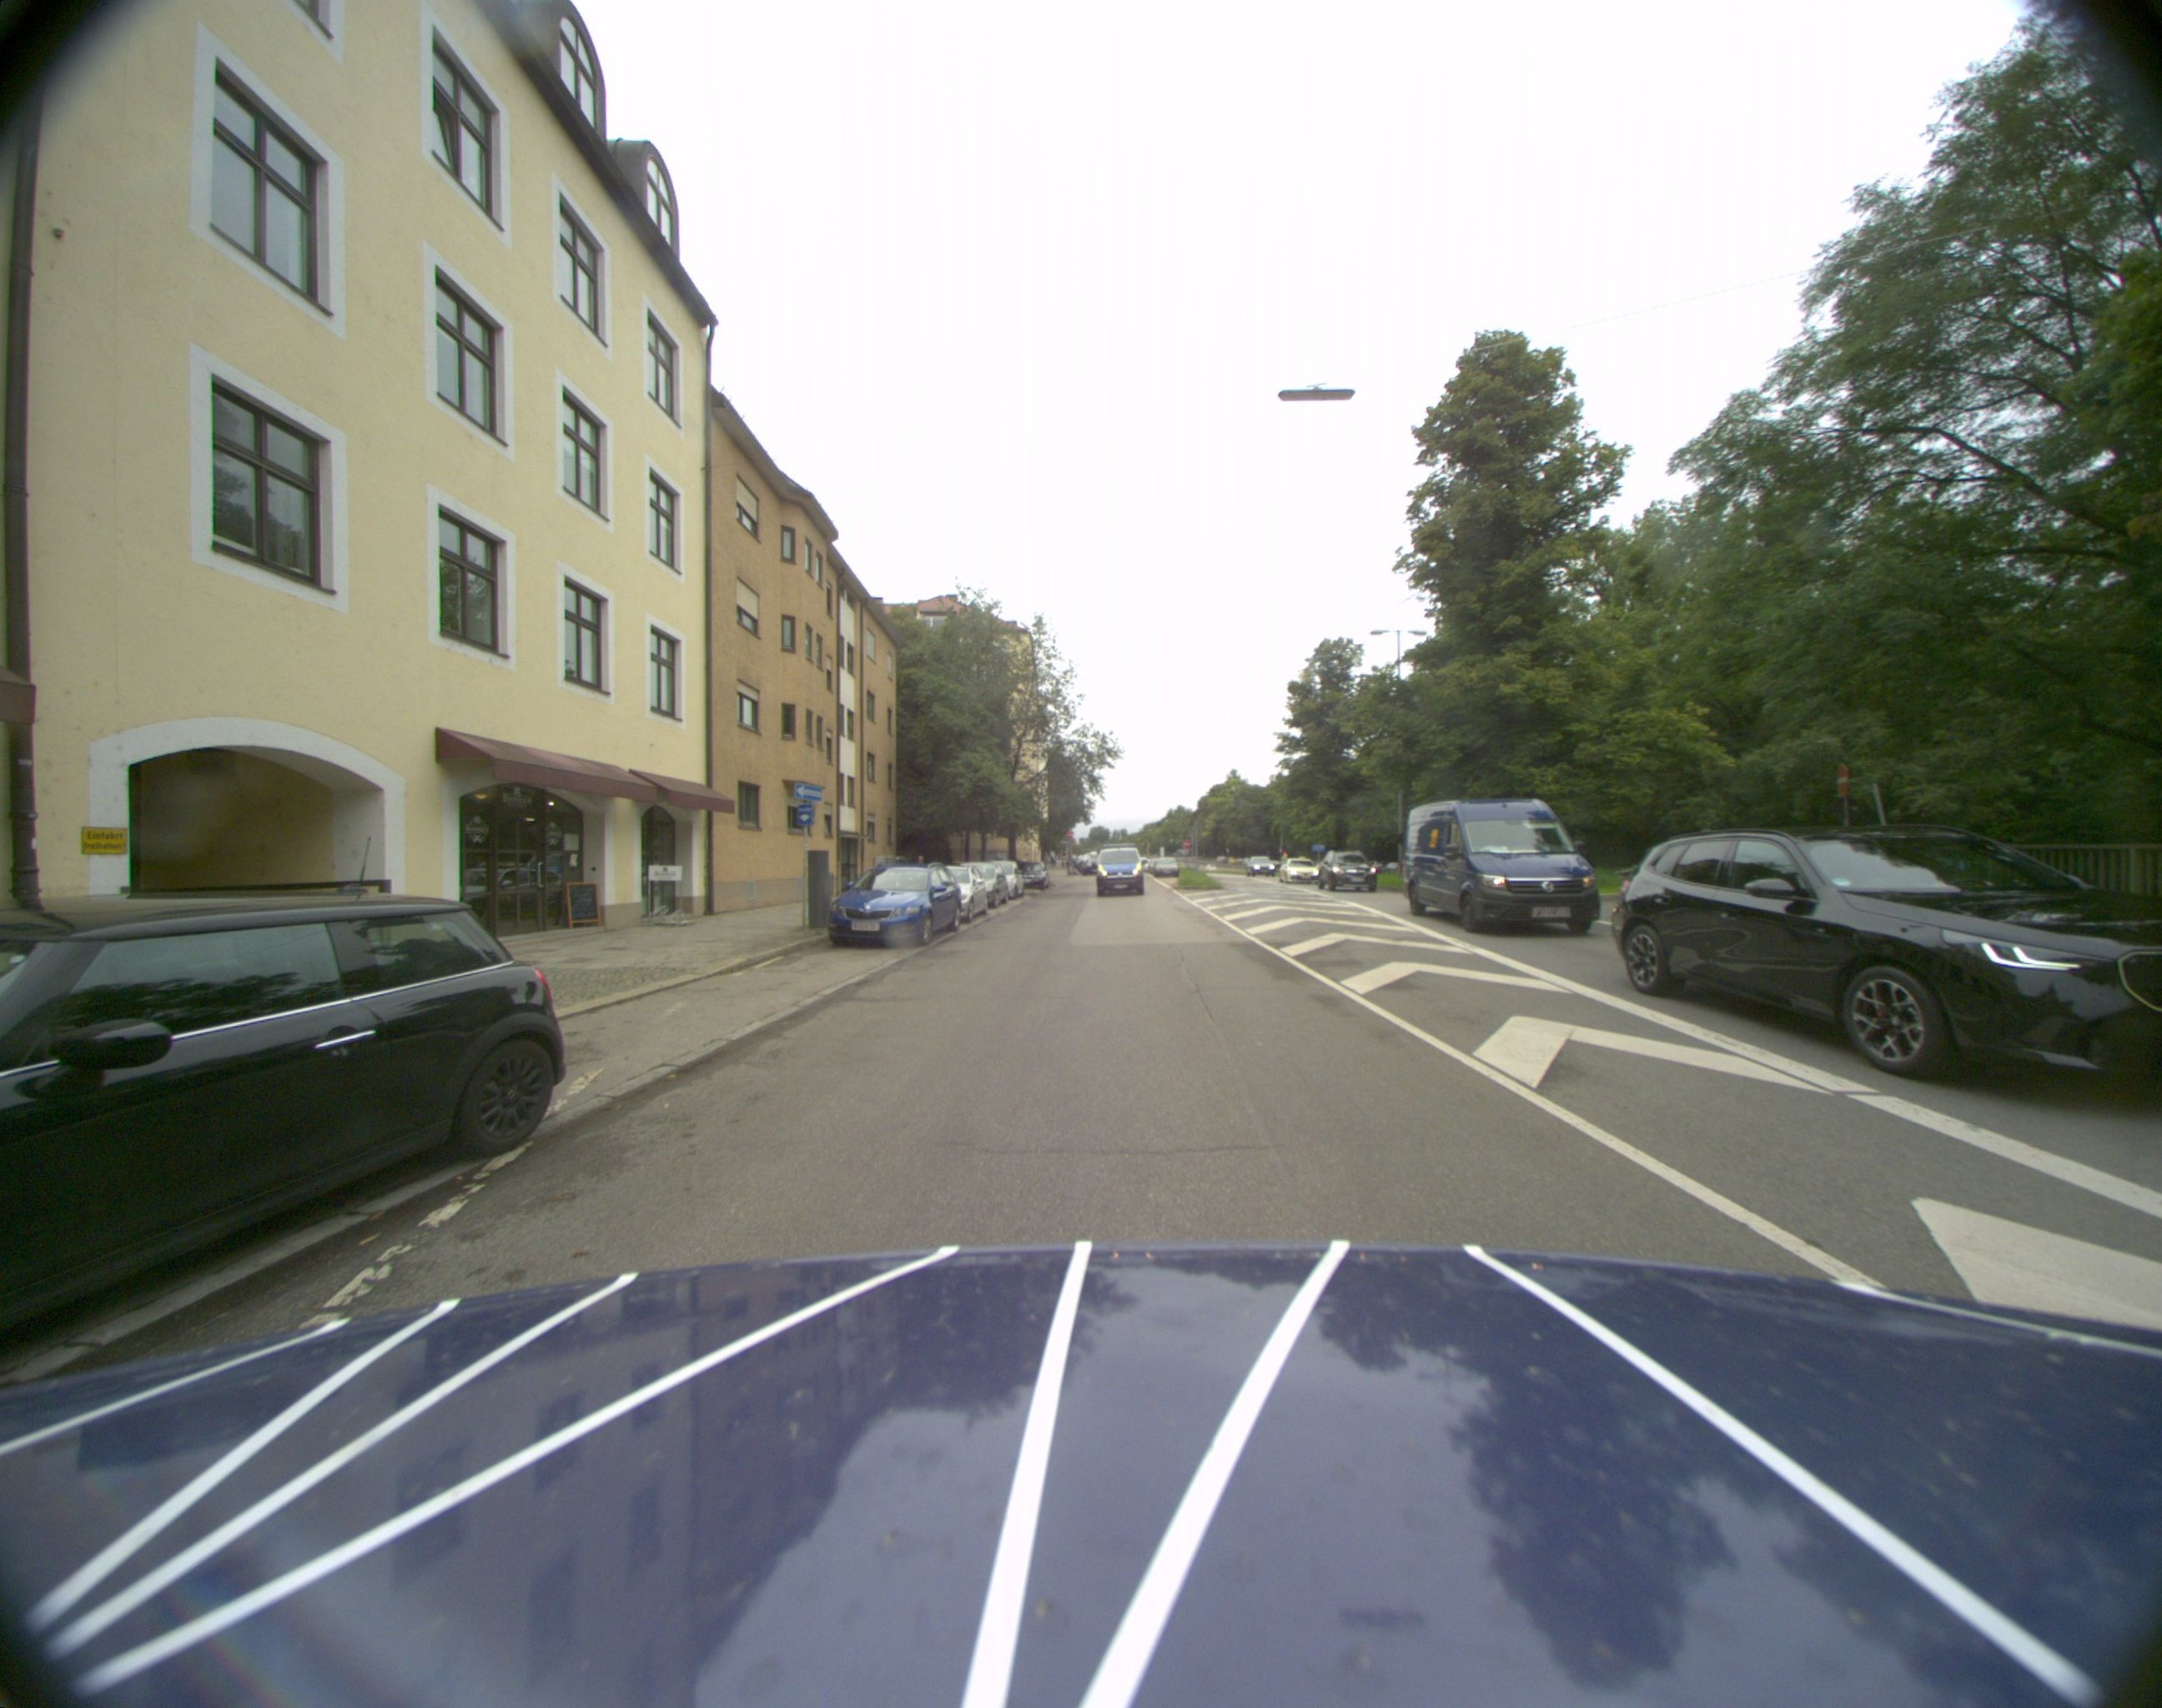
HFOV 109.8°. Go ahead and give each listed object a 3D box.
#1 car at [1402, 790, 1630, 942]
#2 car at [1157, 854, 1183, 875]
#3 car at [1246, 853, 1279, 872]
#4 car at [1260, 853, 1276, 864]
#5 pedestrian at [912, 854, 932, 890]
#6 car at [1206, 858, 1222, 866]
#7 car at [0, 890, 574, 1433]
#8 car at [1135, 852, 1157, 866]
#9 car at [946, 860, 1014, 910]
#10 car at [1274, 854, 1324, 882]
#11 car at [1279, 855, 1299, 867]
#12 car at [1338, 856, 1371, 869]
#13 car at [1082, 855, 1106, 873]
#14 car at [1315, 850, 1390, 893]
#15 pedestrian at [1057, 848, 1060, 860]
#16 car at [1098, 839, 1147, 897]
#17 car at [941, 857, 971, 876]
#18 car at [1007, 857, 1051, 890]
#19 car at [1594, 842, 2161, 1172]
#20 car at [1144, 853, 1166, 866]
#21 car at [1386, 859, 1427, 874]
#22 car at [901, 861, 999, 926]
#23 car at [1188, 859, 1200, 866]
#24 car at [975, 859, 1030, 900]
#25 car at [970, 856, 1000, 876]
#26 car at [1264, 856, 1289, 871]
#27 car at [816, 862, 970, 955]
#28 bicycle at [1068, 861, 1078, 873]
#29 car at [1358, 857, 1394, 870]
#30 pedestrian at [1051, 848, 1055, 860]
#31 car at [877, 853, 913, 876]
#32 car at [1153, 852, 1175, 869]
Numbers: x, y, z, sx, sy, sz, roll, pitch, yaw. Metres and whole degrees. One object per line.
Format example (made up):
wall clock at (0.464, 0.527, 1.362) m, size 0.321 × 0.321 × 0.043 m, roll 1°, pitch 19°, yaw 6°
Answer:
car at (8.267, 0.156, 15.248) m, size 2.187 × 2.450 × 5.855 m, roll 0°, pitch 1°, yaw 11°
car at (6.817, 0.753, 58.497) m, size 1.902 × 1.556 × 4.773 m, roll 0°, pitch 0°, yaw 6°
car at (14.828, 0.670, 62.260) m, size 1.991 × 1.556 × 4.274 m, roll 0°, pitch 0°, yaw 4°
car at (31.877, 0.736, 129.654) m, size 1.885 × 1.736 × 4.000 m, roll -1°, pitch 0°, yaw 0°
pedestrian at (-7.289, 0.804, 34.829) m, size 0.672 × 1.614 × 0.980 m, roll -1°, pitch 1°, yaw 3°
car at (22.791, 1.332, 129.941) m, size 1.832 × 1.438 × 4.235 m, roll 1°, pitch 0°, yaw -2°
car at (-4.061, 0.973, 2.688) m, size 1.760 × 1.487 × 3.824 m, roll 1°, pitch 0°, yaw 5°
car at (8.109, 0.575, 94.729) m, size 2.075 × 1.692 × 5.089 m, roll -1°, pitch 0°, yaw -2°
car at (-3.283, 0.979, 25.365) m, size 1.632 × 1.487 × 3.787 m, roll 1°, pitch 0°, yaw 2°
car at (12.492, 0.760, 43.814) m, size 1.991 × 1.556 × 4.656 m, roll 0°, pitch 0°, yaw 6°
car at (32.523, 1.095, 119.073) m, size 1.998 × 1.736 × 4.000 m, roll -1°, pitch 0°, yaw 0°
car at (32.733, 1.014, 91.084) m, size 1.999 × 1.526 × 4.705 m, roll 1°, pitch 0°, yaw -3°
car at (1.204, 0.894, 71.098) m, size 2.129 × 1.556 × 4.508 m, roll -1°, pitch 0°, yaw 2°
car at (11.010, 0.665, 31.111) m, size 1.991 × 1.618 × 4.275 m, roll 0°, pitch 0°, yaw 7°
pedestrian at (-3.845, 0.024, 129.118) m, size 0.458 × 2.002 × 0.617 m, roll 0°, pitch 0°, yaw -17°
car at (1.641, 0.513, 31.382) m, size 1.856 × 2.198 × 4.553 m, roll -1°, pitch 1°, yaw 1°
car at (-10.043, 0.972, 61.380) m, size 1.917 × 1.458 × 4.244 m, roll 0°, pitch 0°, yaw -2°
car at (-2.600, 0.949, 39.181) m, size 1.796 × 1.488 × 4.376 m, roll 2°, pitch 0°, yaw 1°
car at (6.310, 0.742, 5.989) m, size 1.916 × 1.577 × 4.834 m, roll -2°, pitch 0°, yaw 10°
car at (8.272, 0.633, 85.309) m, size 1.992 × 1.447 × 4.281 m, roll 0°, pitch 0°, yaw -2°
car at (33.188, 1.284, 77.608) m, size 1.999 × 1.438 × 4.524 m, roll 1°, pitch 0°, yaw -3°
car at (-3.356, 0.958, 20.225) m, size 1.694 × 1.487 × 4.434 m, roll 1°, pitch 0°, yaw 2°
car at (22.313, 1.627, 150.262) m, size 1.896 × 1.438 × 4.033 m, roll 0°, pitch 0°, yaw 0°
car at (-3.030, 0.952, 30.160) m, size 1.632 × 1.487 × 3.821 m, roll 1°, pitch 0°, yaw 2°
car at (-7.713, 0.945, 61.575) m, size 2.054 × 1.458 × 4.244 m, roll 0°, pitch 0°, yaw -2°
car at (22.386, 1.069, 87.103) m, size 1.865 × 1.549 × 4.000 m, roll -1°, pitch 0°, yaw 1°
car at (-3.499, 0.946, 15.043) m, size 1.761 × 1.487 × 4.488 m, roll 1°, pitch 0°, yaw 2°
bicycle at (-0.732, 1.151, 68.899) m, size 0.632 × 1.031 × 1.736 m, roll 0°, pitch 0°, yaw 7°
car at (32.810, 1.060, 84.574) m, size 1.999 × 1.438 × 4.524 m, roll 1°, pitch 0°, yaw -3°
pedestrian at (-4.703, 0.049, 128.202) m, size 0.458 × 2.002 × 0.617 m, roll 0°, pitch 0°, yaw -17°
car at (-15.093, 0.815, 61.804) m, size 1.917 × 1.741 × 4.244 m, roll 0°, pitch 0°, yaw -1°
car at (8.123, 0.625, 74.237) m, size 1.991 × 1.556 × 4.284 m, roll 0°, pitch 0°, yaw 4°
